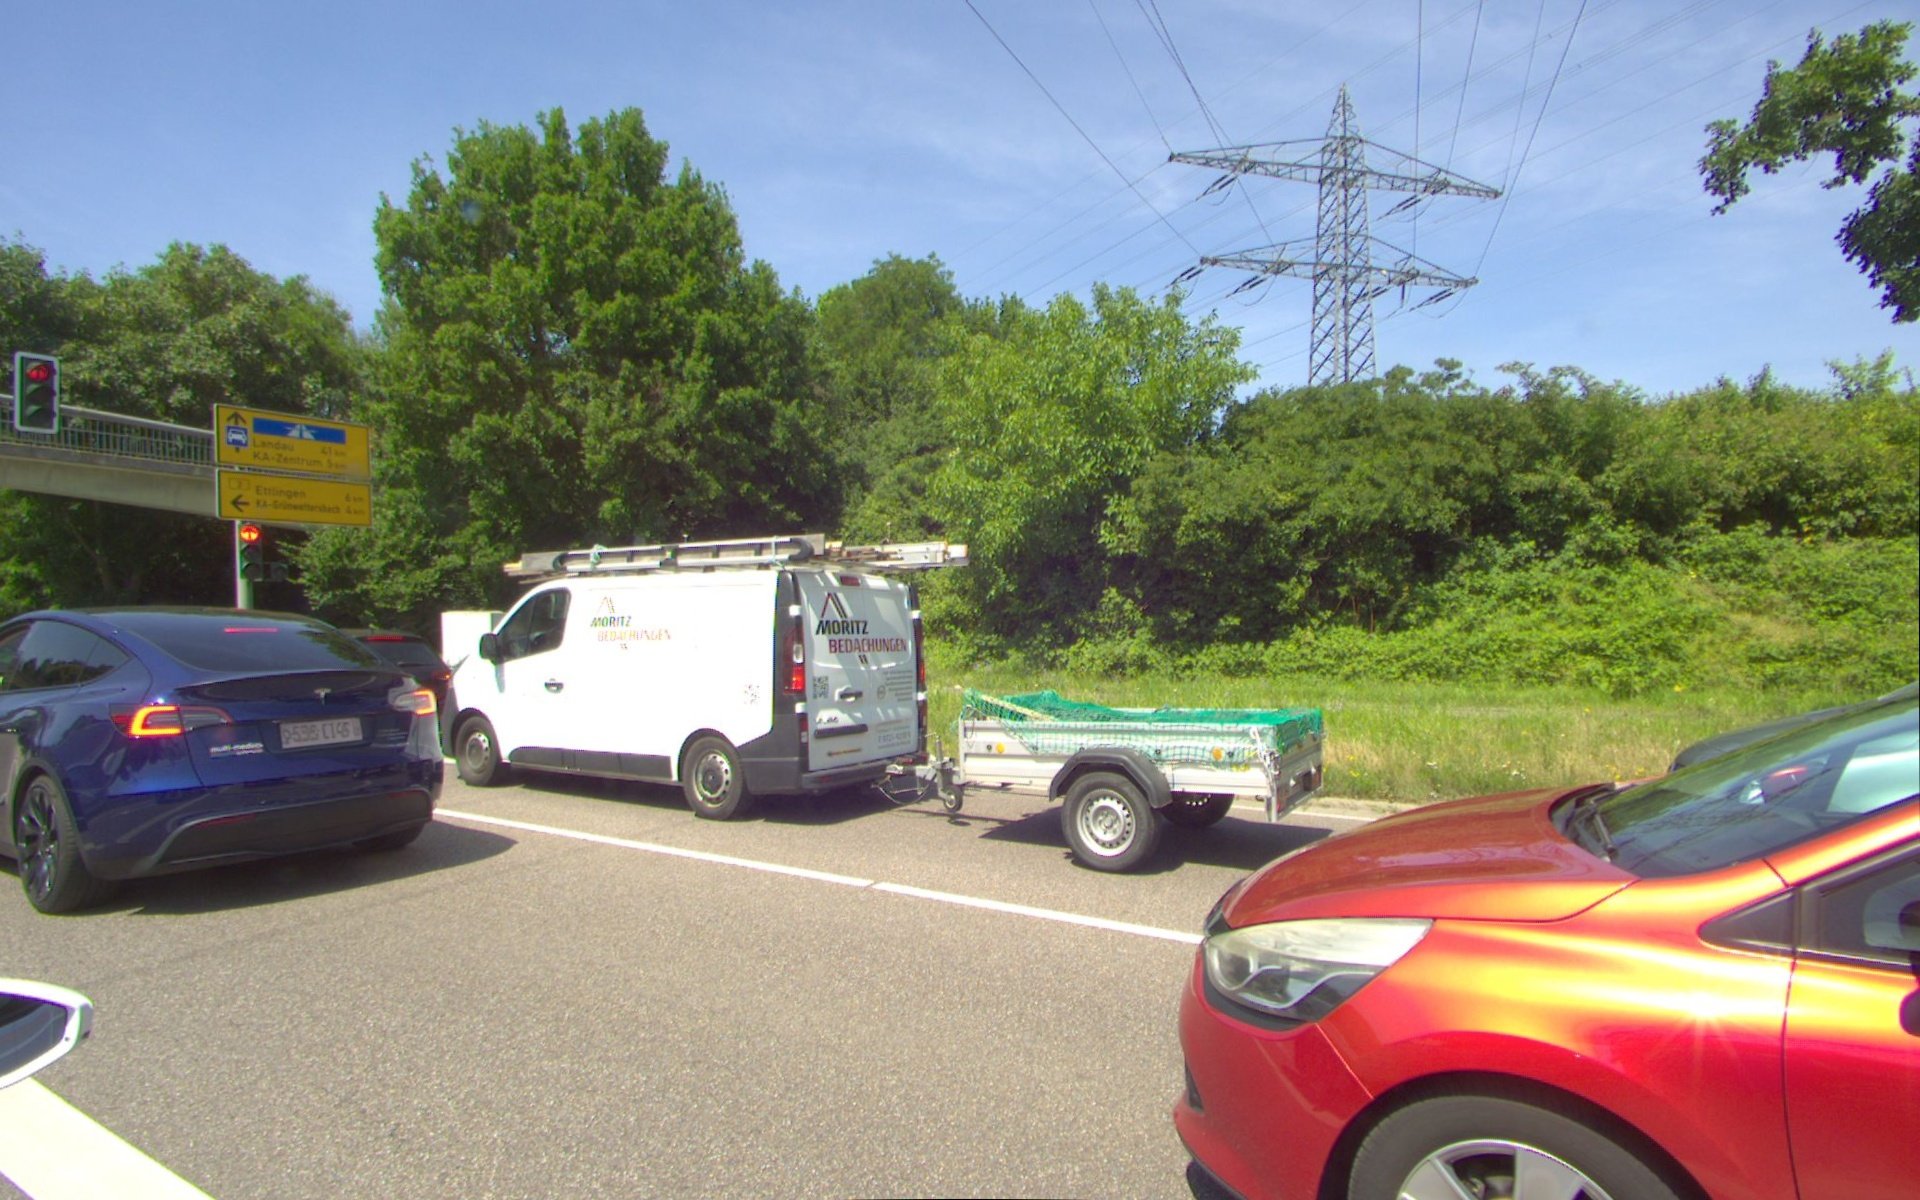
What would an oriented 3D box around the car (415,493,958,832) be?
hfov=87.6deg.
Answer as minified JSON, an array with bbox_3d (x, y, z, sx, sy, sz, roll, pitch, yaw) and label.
[{"bbox_3d":[-2.637,0.493,9.182,5.002,2.379,1.929,-1,-1,32],"label":"car"}]

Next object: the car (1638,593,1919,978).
[{"bbox_3d":[5.457,0.773,4.330,4.105,1.616,1.761,-1,0,32],"label":"car"}]

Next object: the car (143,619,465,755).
[{"bbox_3d":[-8.588,1.012,13.021,4.318,1.497,1.897,-1,-2,32],"label":"car"}]

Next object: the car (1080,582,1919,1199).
[{"bbox_3d":[2.413,0.730,1.890,4.006,1.480,1.740,-1,-2,32],"label":"car"}]

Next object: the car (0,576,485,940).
[{"bbox_3d":[-5.331,0.772,6.600,4.455,1.665,1.897,-1,-1,32],"label":"car"}]

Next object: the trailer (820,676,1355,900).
[{"bbox_3d":[0.845,1.118,6.913,3.276,1.019,1.703,-1,-1,32],"label":"trailer"}]

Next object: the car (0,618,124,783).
[{"bbox_3d":[-10.364,0.929,10.082,3.882,1.497,1.897,-1,-2,32],"label":"car"}]
